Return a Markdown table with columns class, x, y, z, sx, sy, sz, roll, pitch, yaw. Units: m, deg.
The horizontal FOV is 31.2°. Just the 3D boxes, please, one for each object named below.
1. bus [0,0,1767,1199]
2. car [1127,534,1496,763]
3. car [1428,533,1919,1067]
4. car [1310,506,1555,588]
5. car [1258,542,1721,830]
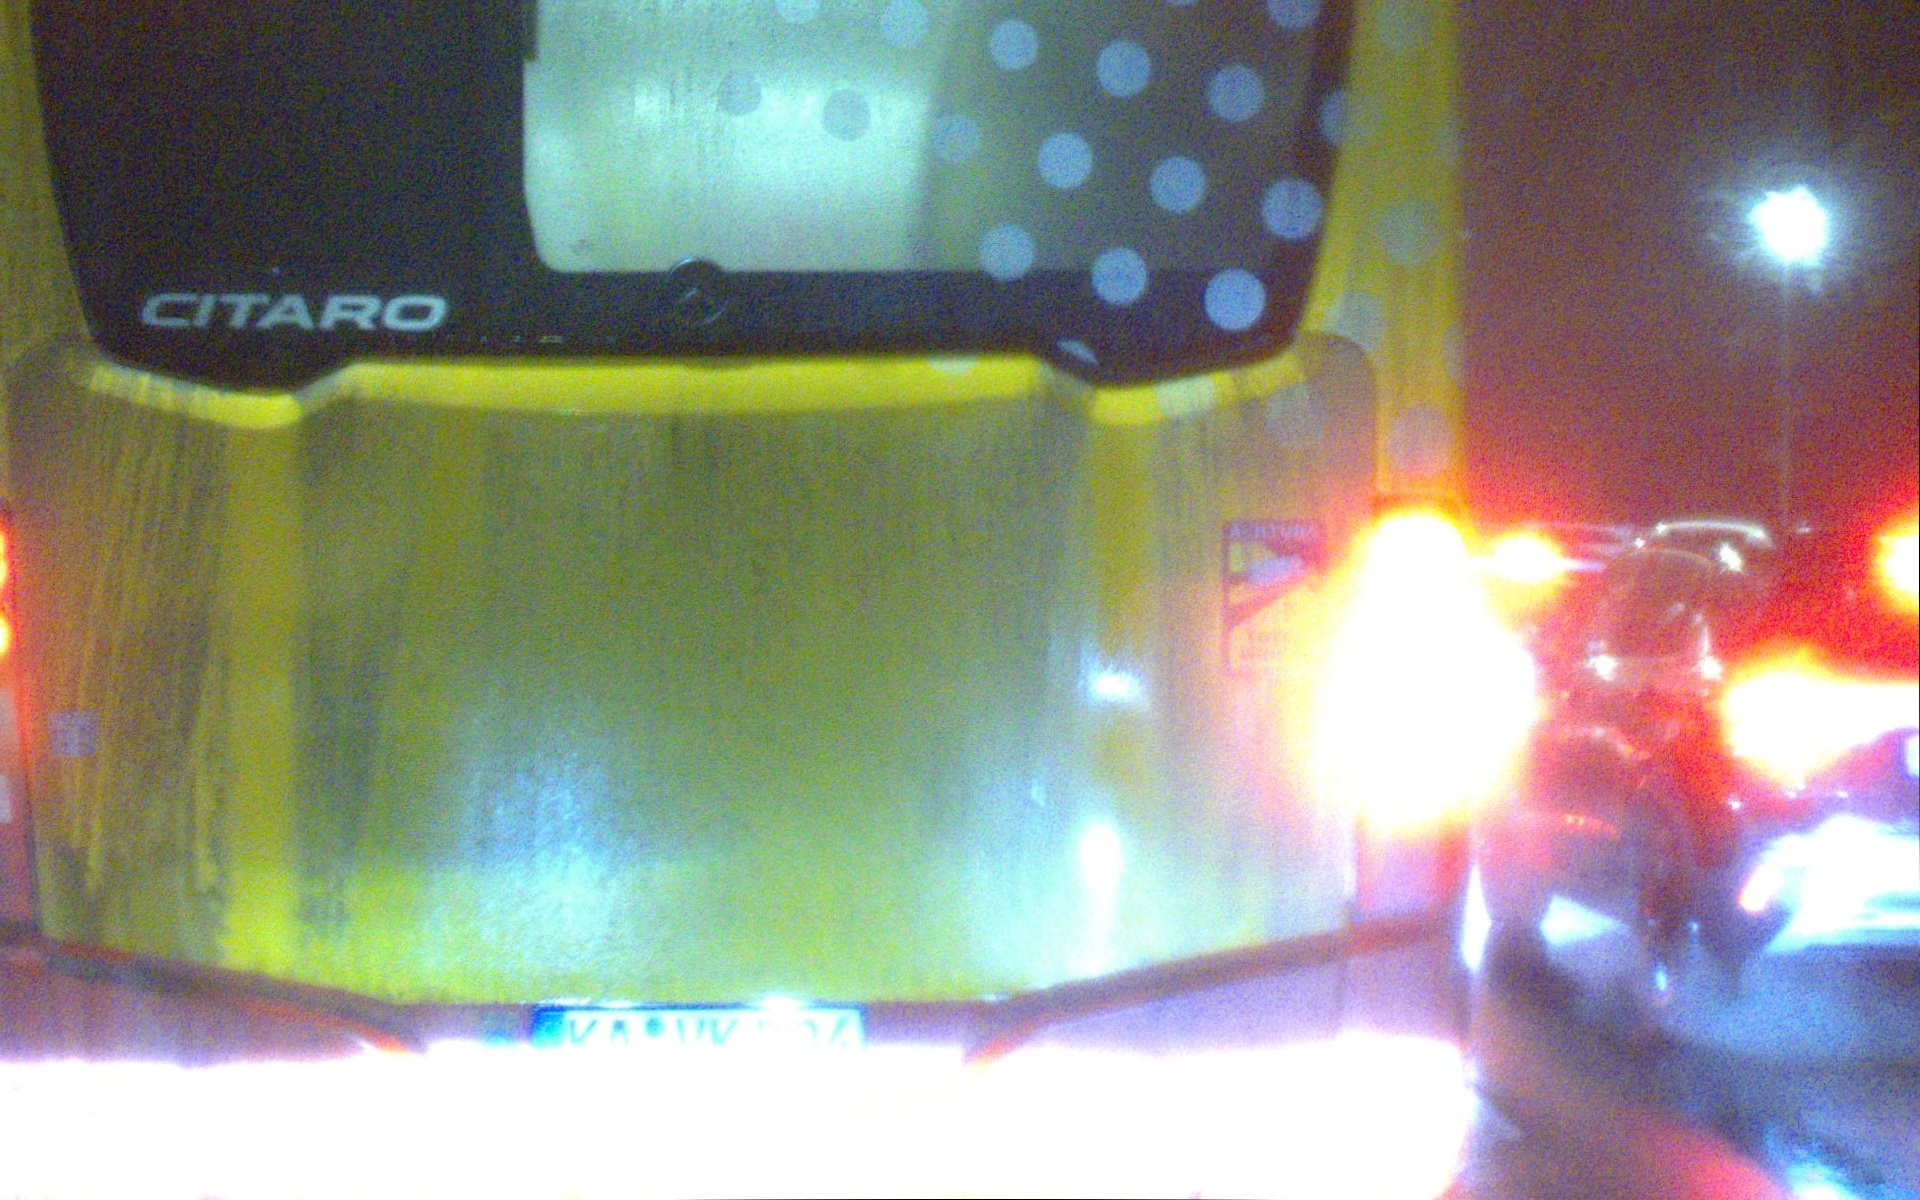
| class | x | y | z | sx | sy | sz | roll | pitch | yaw |
| --- | --- | --- | --- | --- | --- | --- | --- | --- | --- |
| bus | -0.628 | -0.312 | 9.835 | 3.285 | 3.039 | 9.546 | 0 | 2 | -2 |
| car | 2.339 | 0.291 | 23.925 | 1.993 | 1.436 | 4.000 | 1 | 1 | -2 |
| car | 2.828 | 0.558 | 11.808 | 1.677 | 1.516 | 3.961 | 1 | 1 | -3 |
| car | 9.422 | -1.069 | 68.686 | 4.482 | 1.513 | 1.858 | 1 | 3 | -8 |
| car | 2.641 | 0.369 | 18.000 | 1.686 | 1.326 | 3.961 | -1 | 1 | -2 |
